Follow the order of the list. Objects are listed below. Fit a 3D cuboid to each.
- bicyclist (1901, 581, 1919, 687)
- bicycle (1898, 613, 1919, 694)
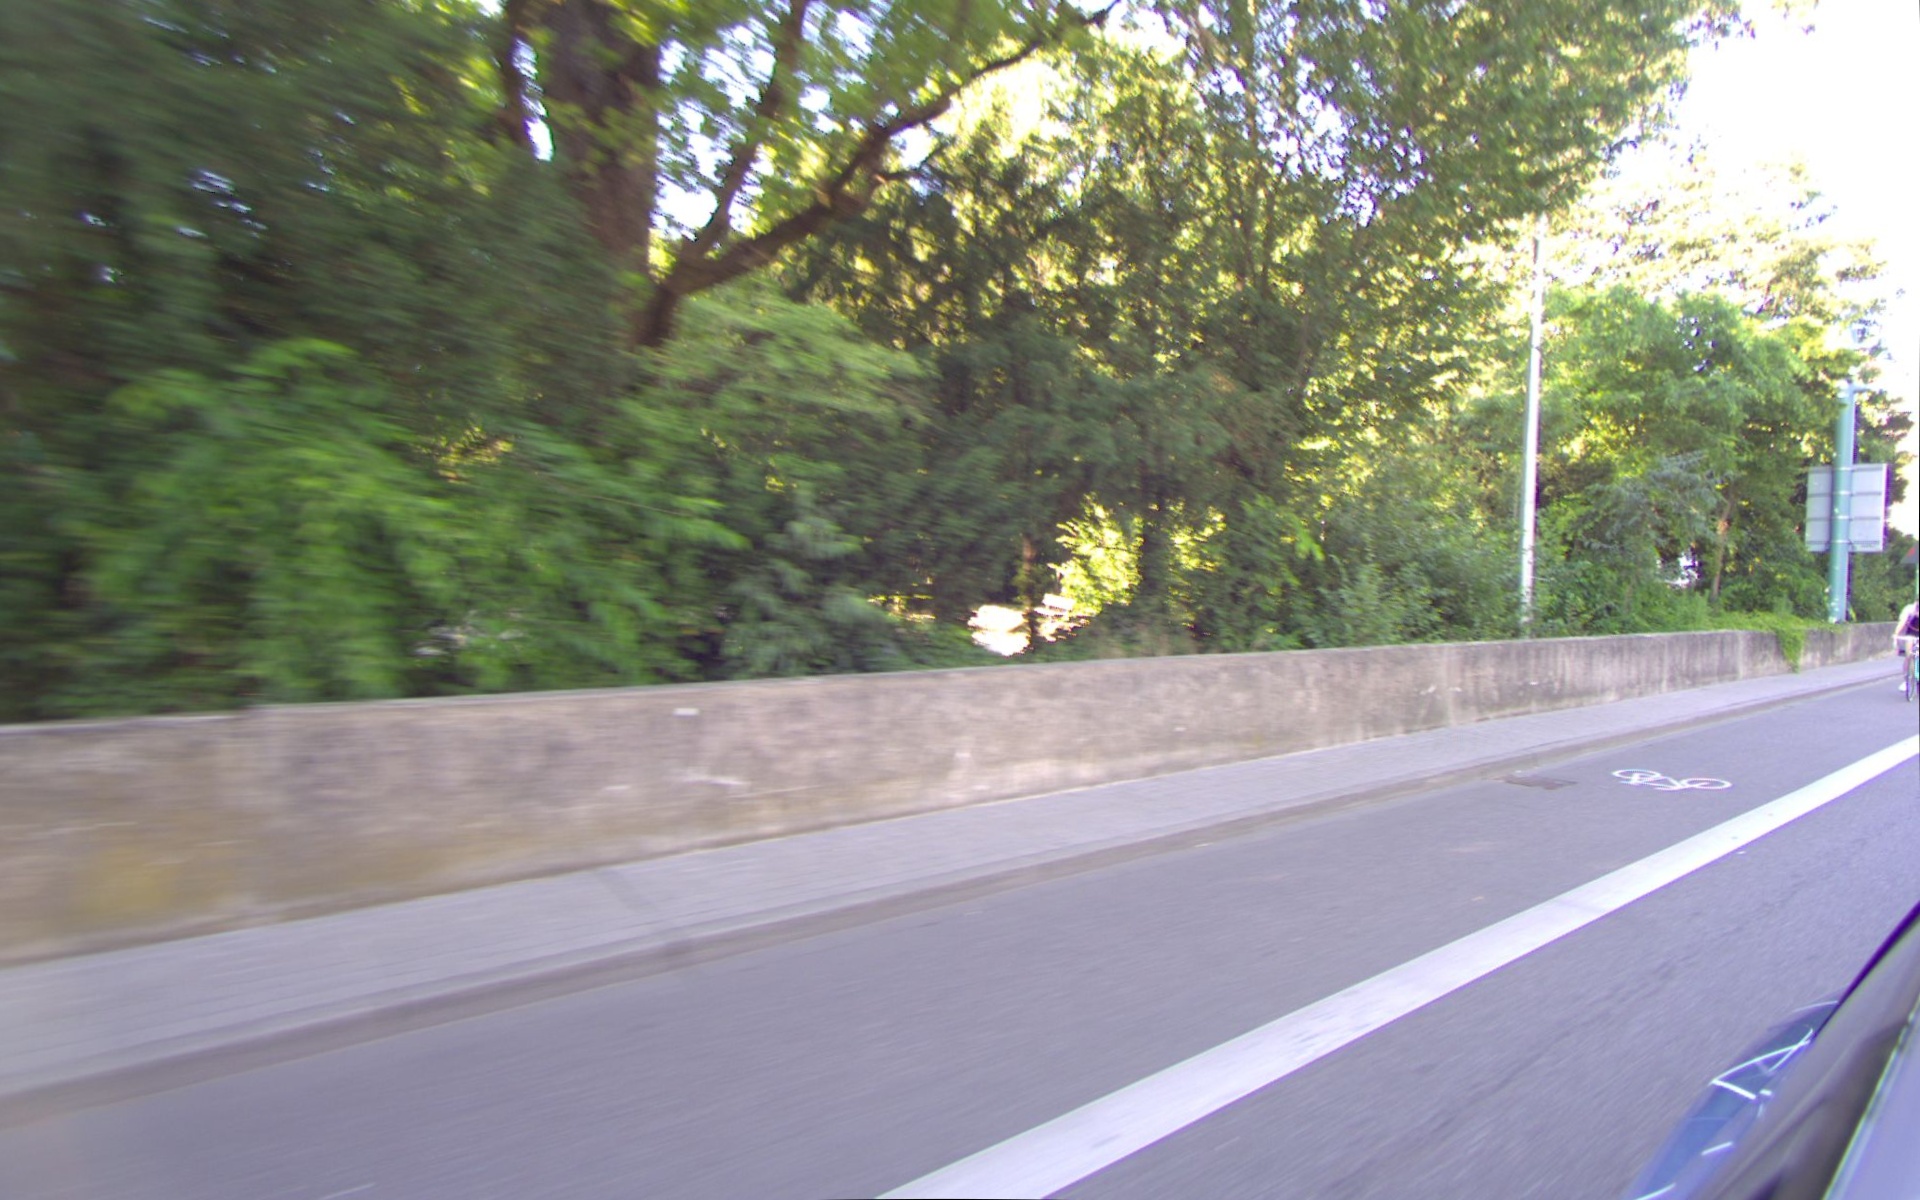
[{"bbox_3d":[14.227,0.491,14.748,1.061,1.509,0.554,1,2,-39],"label":"bicyclist"},{"bbox_3d":[14.209,0.761,14.746,1.809,1.111,0.522,0,1,-39],"label":"bicycle"}]
